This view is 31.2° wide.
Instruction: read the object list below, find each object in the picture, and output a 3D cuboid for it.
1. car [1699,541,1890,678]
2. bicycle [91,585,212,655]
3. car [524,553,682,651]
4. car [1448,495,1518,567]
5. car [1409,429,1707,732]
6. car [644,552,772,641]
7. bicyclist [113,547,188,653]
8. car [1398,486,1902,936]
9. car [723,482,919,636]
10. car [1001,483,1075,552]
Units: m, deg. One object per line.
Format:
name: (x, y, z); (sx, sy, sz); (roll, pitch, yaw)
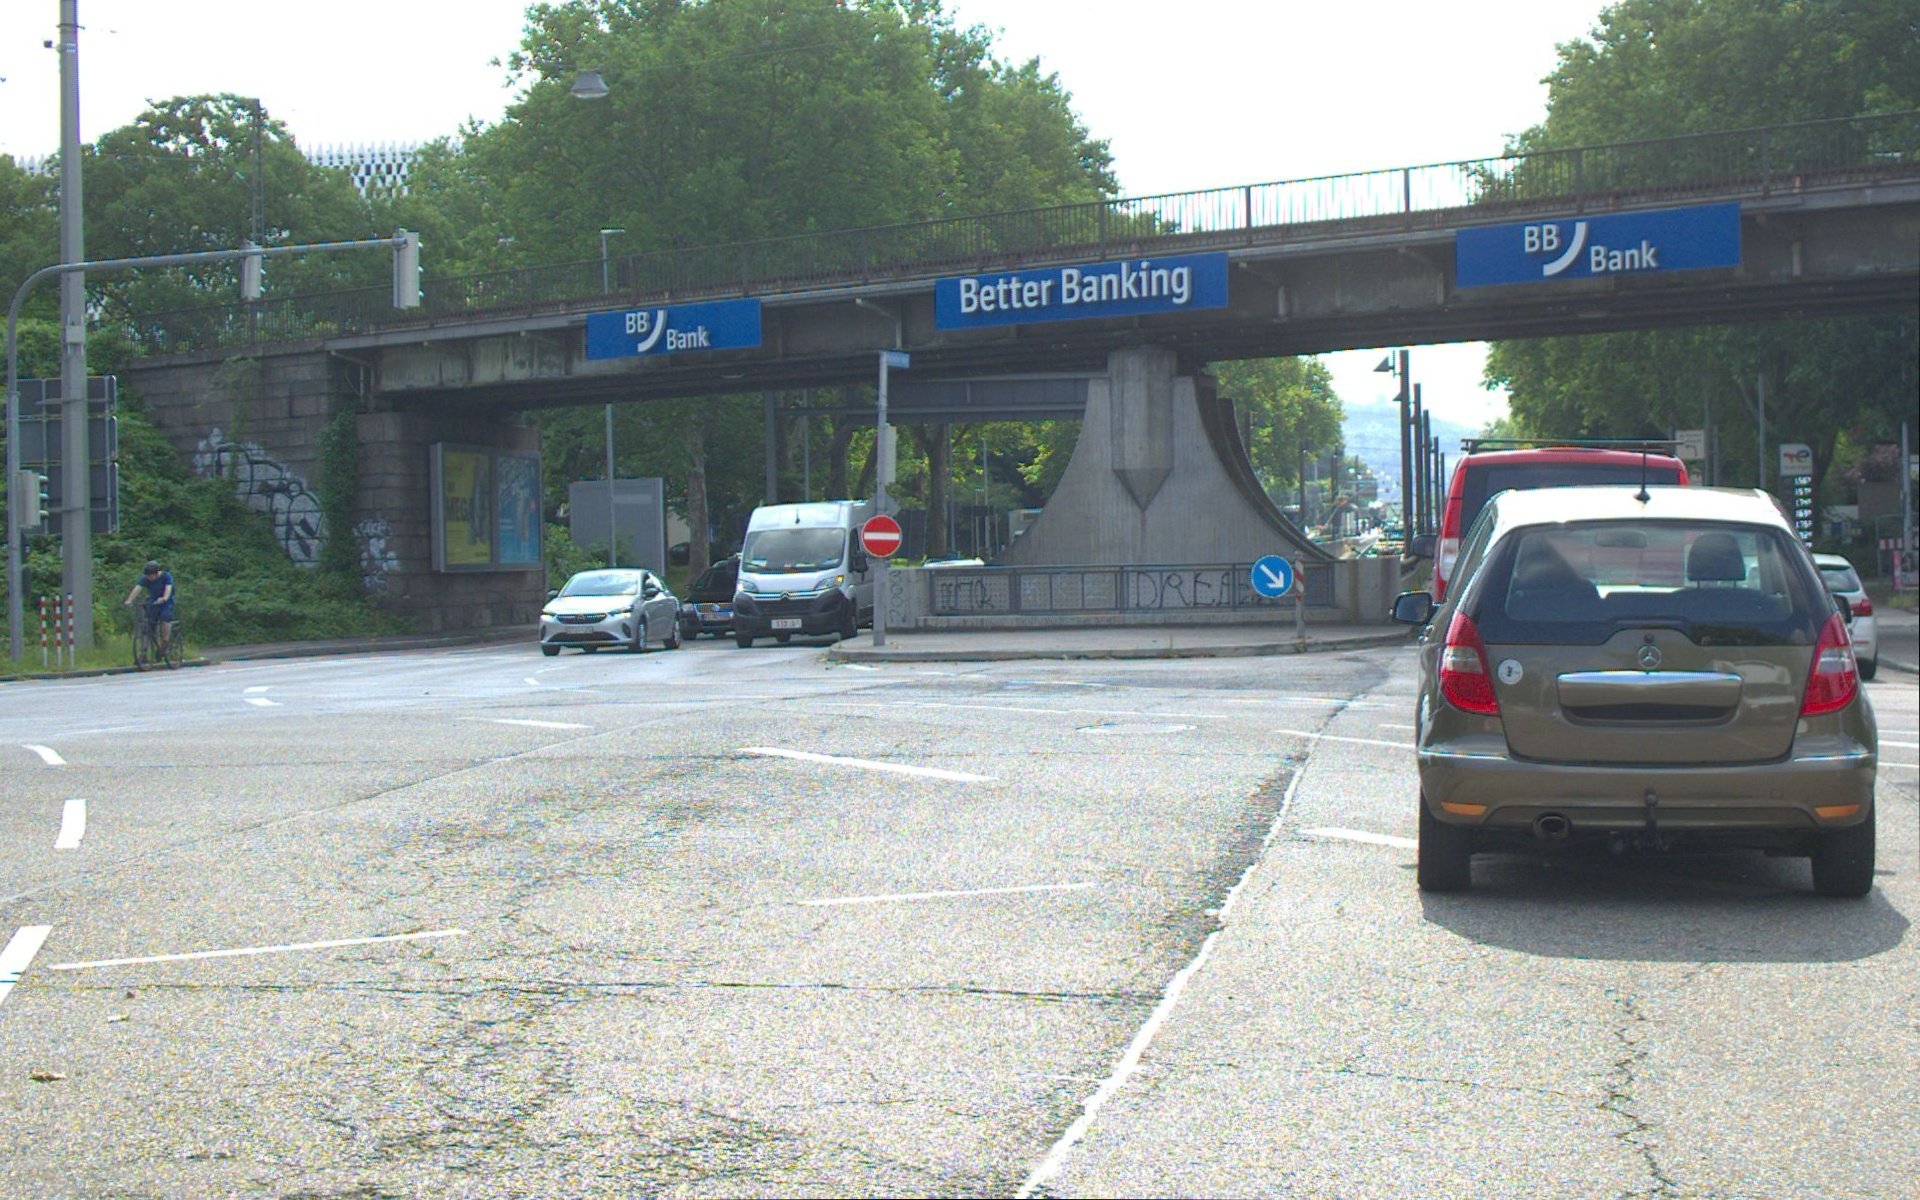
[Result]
car: (9.776, 0.150, 40.495); (1.852, 1.516, 3.615); (-1, -1, 9)
bicycle: (-12.946, 0.318, 55.126); (0.843, 1.090, 2.316); (-1, 0, 16)
car: (-6.057, 0.049, 58.760); (1.703, 1.471, 3.999); (-5, -1, 7)
car: (15.374, -1.993, 101.078); (1.956, 2.010, 4.675); (1, 0, 8)
car: (4.330, -0.168, 25.263); (1.956, 2.010, 4.675); (0, 1, 8)
car: (-4.993, -0.041, 68.692); (1.765, 1.578, 4.663); (-5, -1, 4)
bicyclist: (-12.964, 0.006, 55.064); (0.843, 1.673, 0.823); (-1, 0, 16)
car: (2.796, 0.338, 14.464); (1.792, 1.603, 3.798); (1, 2, 9)
car: (-2.375, -0.664, 60.669); (2.259, 2.518, 5.624); (-2, -1, 10)
car: (3.243, -3.374, 141.915); (2.246, 2.570, 5.623); (-3, -1, 9)
